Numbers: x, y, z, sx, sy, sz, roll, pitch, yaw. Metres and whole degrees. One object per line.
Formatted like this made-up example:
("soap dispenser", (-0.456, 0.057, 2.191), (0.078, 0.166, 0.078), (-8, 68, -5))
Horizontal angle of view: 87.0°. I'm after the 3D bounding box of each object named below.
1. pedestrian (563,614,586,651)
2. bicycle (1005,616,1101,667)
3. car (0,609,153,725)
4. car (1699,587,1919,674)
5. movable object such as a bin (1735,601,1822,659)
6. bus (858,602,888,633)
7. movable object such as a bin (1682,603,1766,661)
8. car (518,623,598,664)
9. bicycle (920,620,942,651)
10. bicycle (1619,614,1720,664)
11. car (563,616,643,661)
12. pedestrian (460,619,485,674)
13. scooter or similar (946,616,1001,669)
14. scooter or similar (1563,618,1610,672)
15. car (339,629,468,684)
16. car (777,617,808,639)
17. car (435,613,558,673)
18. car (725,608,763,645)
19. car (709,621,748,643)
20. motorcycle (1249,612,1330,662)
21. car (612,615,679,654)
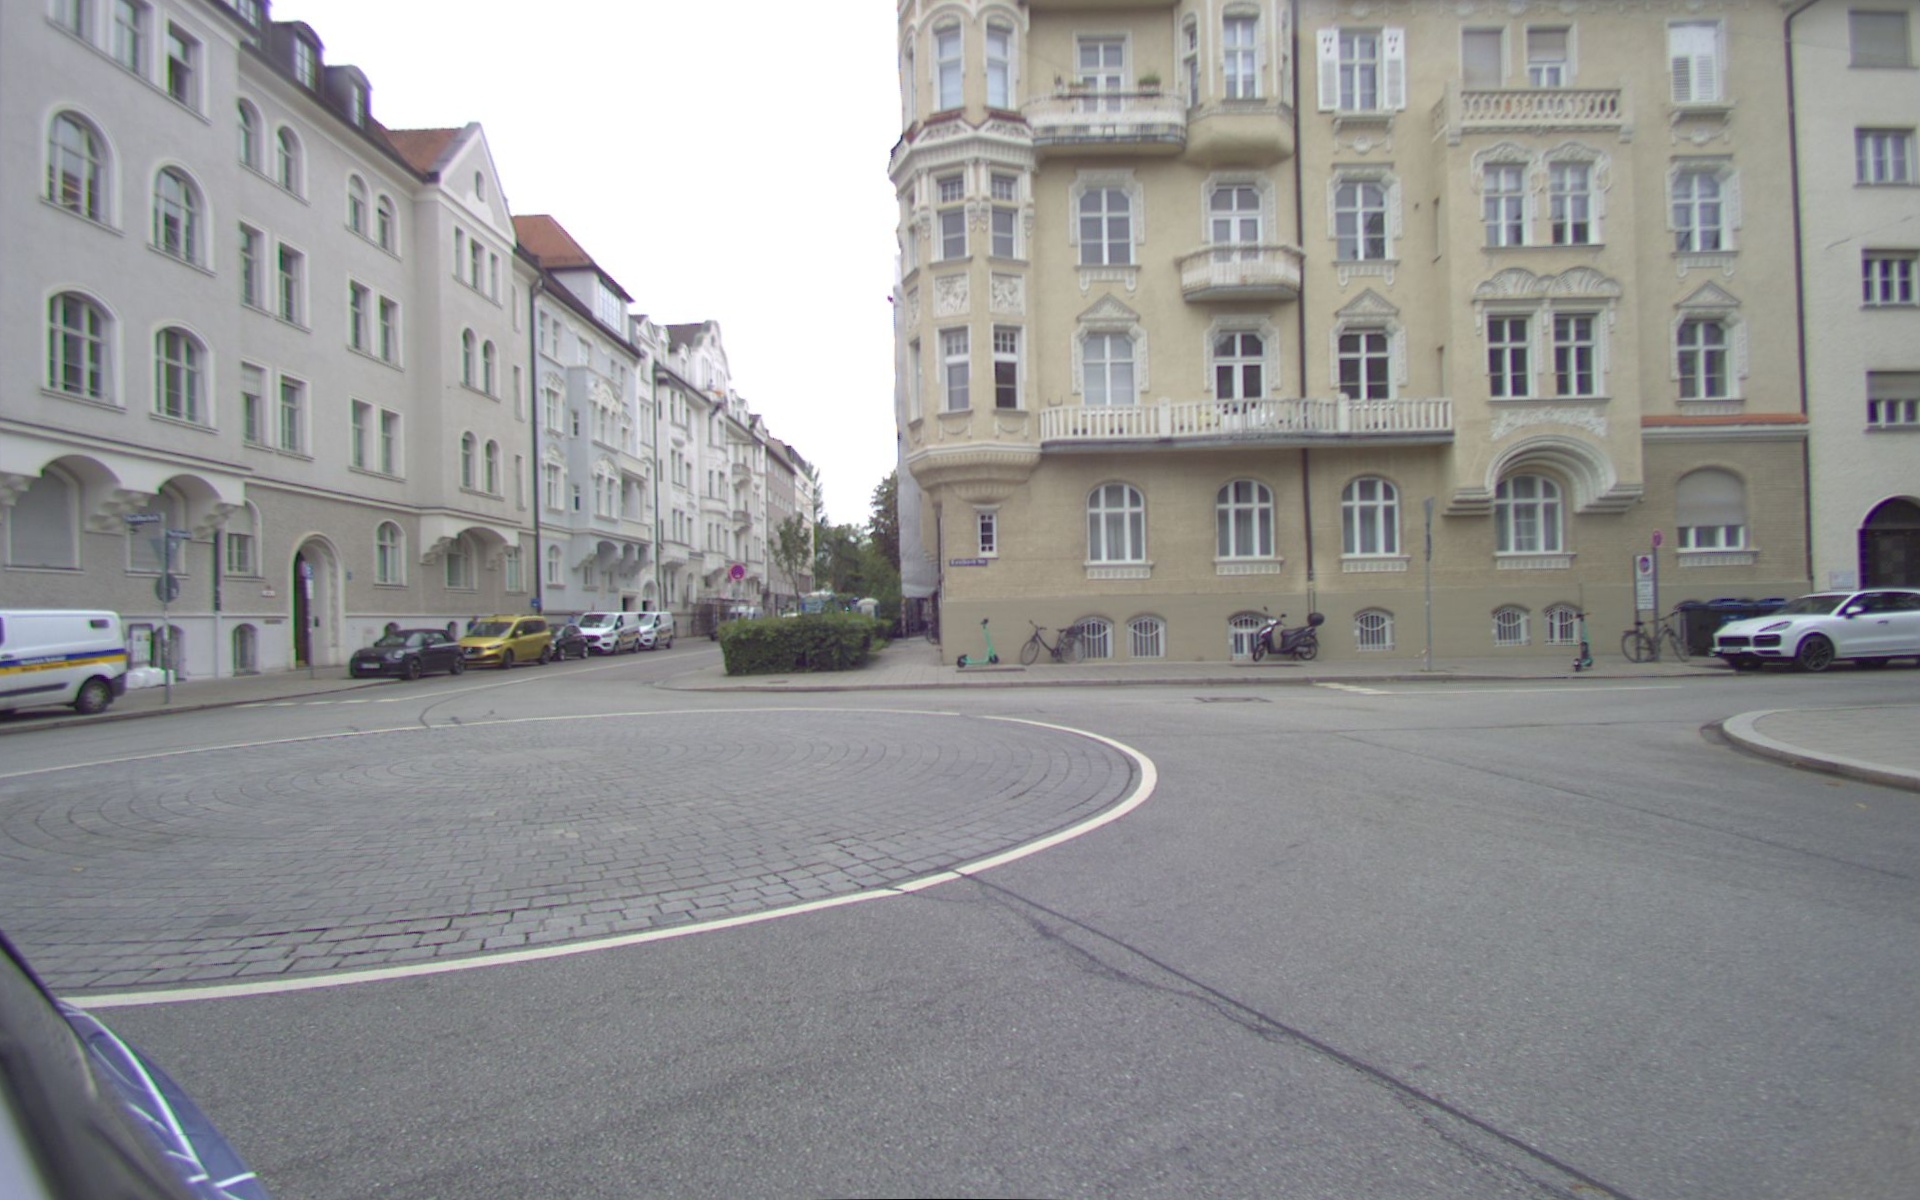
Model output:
("pedestrian", (-19.991, 1.685, 52.519), (0.843, 1.917, 0.745), (-1, -1, 4))
("bicycle", (2.339, 1.044, 25.565), (2.304, 1.212, 0.700), (-1, -1, -4))
("car", (-17.042, 1.134, 17.501), (1.917, 1.936, 5.374), (0, -1, 0))
("car", (18.732, 0.602, 21.247), (4.919, 1.688, 2.000), (-1, -1, -1))
("movable object such as a bin", (20.234, 0.741, 25.060), (1.165, 1.381, 1.147), (-1, -1, 2))
("bus", (-9.725, 2.007, 115.027), (3.134, 3.236, 18.073), (0, -1, -4))
("movable object such as a bin", (19.009, 0.798, 25.207), (1.165, 1.381, 1.147), (-1, -1, 2))
("car", (-16.216, 1.716, 41.005), (1.616, 1.525, 3.883), (-2, -1, 1))
("bicycle", (-1.208, 1.483, 42.849), (0.812, 1.215, 2.077), (-3, -1, 0))
("bicycle", (16.346, 0.888, 23.333), (1.944, 1.077, 0.655), (-1, -1, -8))
("car", (-16.331, 1.704, 46.551), (1.972, 1.933, 4.885), (-1, -1, 0))
("pedestrian", (-18.336, 1.730, 38.071), (0.577, 2.029, 0.727), (-1, -1, 3))
("scooter or similar", (0.331, 1.049, 25.337), (1.262, 1.281, 0.460), (-1, -1, -18))
("scooter or similar", (13.472, 0.956, 21.756), (1.327, 1.117, 0.543), (0, -2, -45))
("car", (-16.446, 1.628, 30.134), (1.694, 1.456, 3.826), (-1, -1, 1))
("car", (-13.428, 2.195, 81.201), (1.892, 1.670, 4.604), (-1, -1, -3))
("car", (-16.154, 1.454, 35.568), (1.974, 1.933, 4.565), (-1, -1, 4))
("car", (-16.639, 2.026, 78.288), (2.053, 2.709, 5.448), (0, -1, -3))
("car", (-16.417, 2.260, 72.019), (1.769, 1.418, 4.243), (-1, -1, 0))
("motorcycle", (8.253, 0.931, 25.397), (1.720, 1.195, 0.743), (-1, -1, -3))
("car", (-16.401, 1.763, 52.981), (1.972, 1.933, 4.877), (-1, -1, 0))
